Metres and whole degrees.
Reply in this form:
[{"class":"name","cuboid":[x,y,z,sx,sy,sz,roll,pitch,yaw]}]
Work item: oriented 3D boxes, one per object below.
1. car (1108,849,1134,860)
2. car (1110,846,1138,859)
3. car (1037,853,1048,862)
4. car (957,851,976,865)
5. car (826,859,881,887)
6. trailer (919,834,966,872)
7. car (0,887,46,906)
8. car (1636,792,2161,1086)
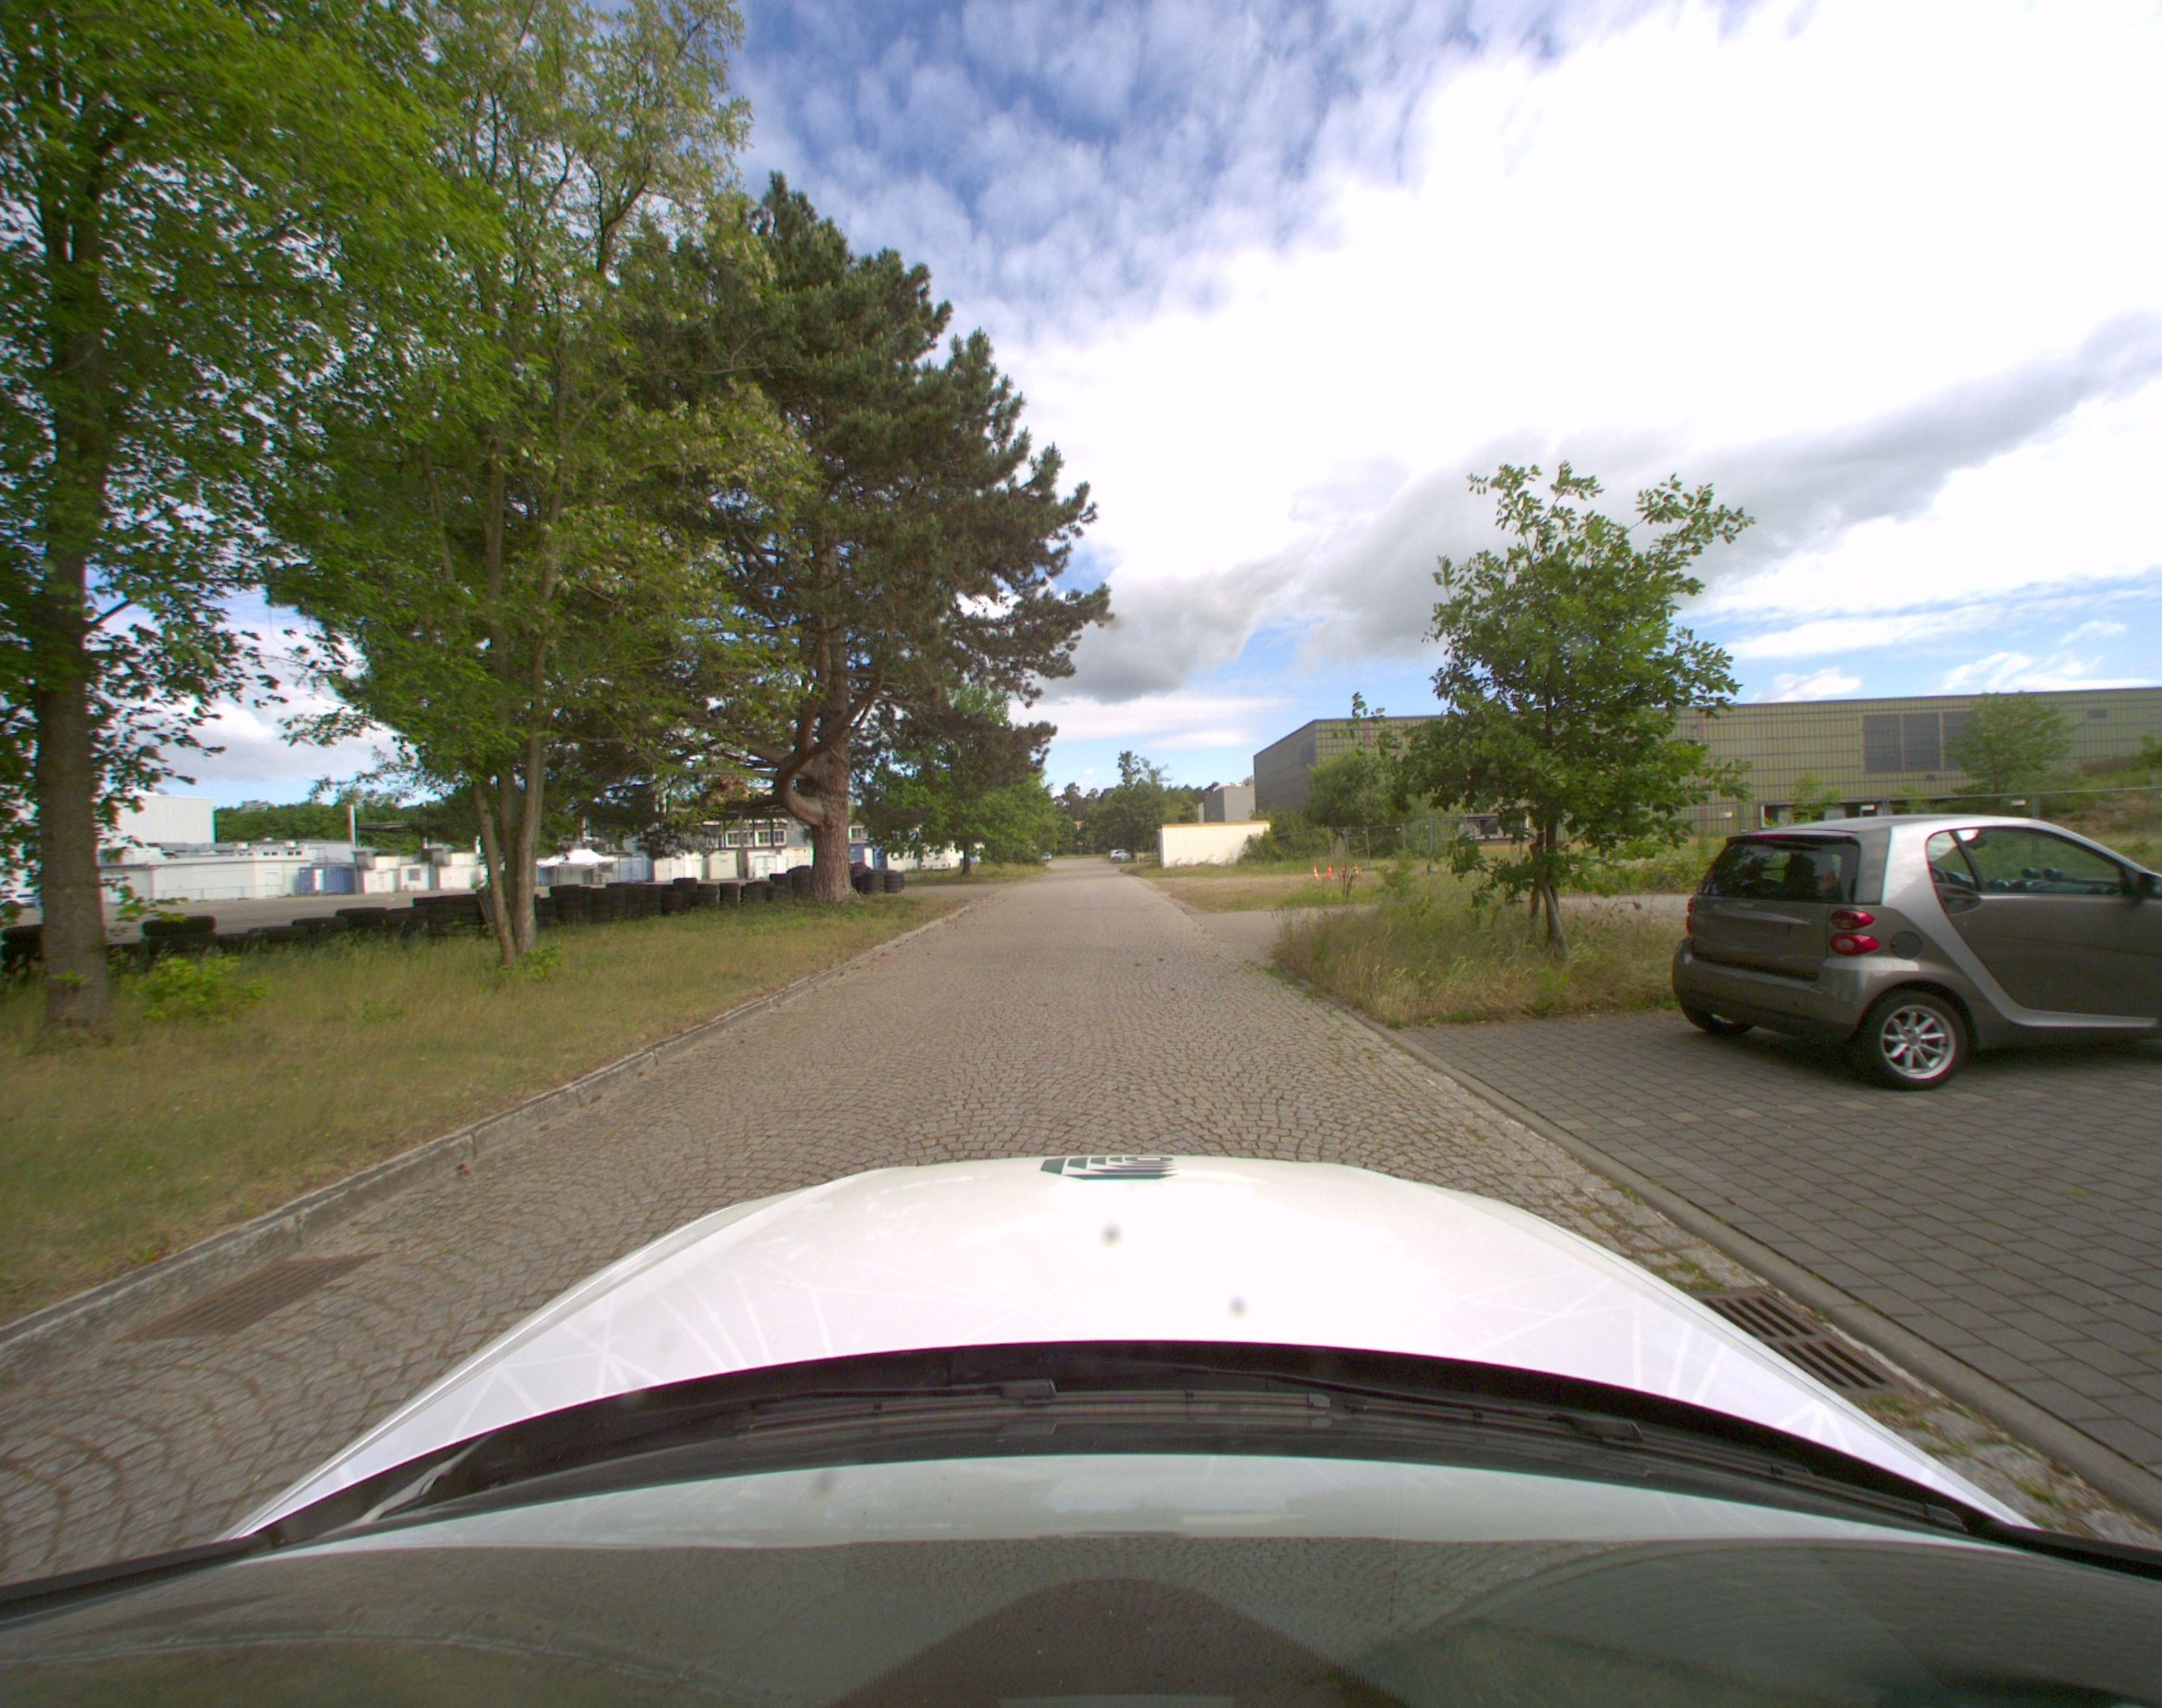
[{"class":"car","cuboid":[5.684,0.079,115.253,3.510,1.362,1.623,-4,0,1]},{"class":"car","cuboid":[6.236,-0.219,117.948,3.971,1.448,1.653,-4,0,0]},{"class":"car","cuboid":[-6.434,0.528,136.804,1.642,1.369,3.998,-2,0,1]},{"class":"car","cuboid":[-17.539,0.575,124.767,1.986,2.013,4.768,-2,0,1]},{"class":"car","cuboid":[-13.061,1.063,46.946,1.617,1.433,4.071,-2,1,6]},{"class":"trailer","cuboid":[-14.300,-0.152,84.894,2.615,3.597,10.185,-2,0,3]},{"class":"car","cuboid":[-102.612,4.081,78.176,4.090,1.633,1.831,-2,0,1]},{"class":"car","cuboid":[5.685,0.463,5.484,2.700,1.556,1.654,-4,0,1]}]
